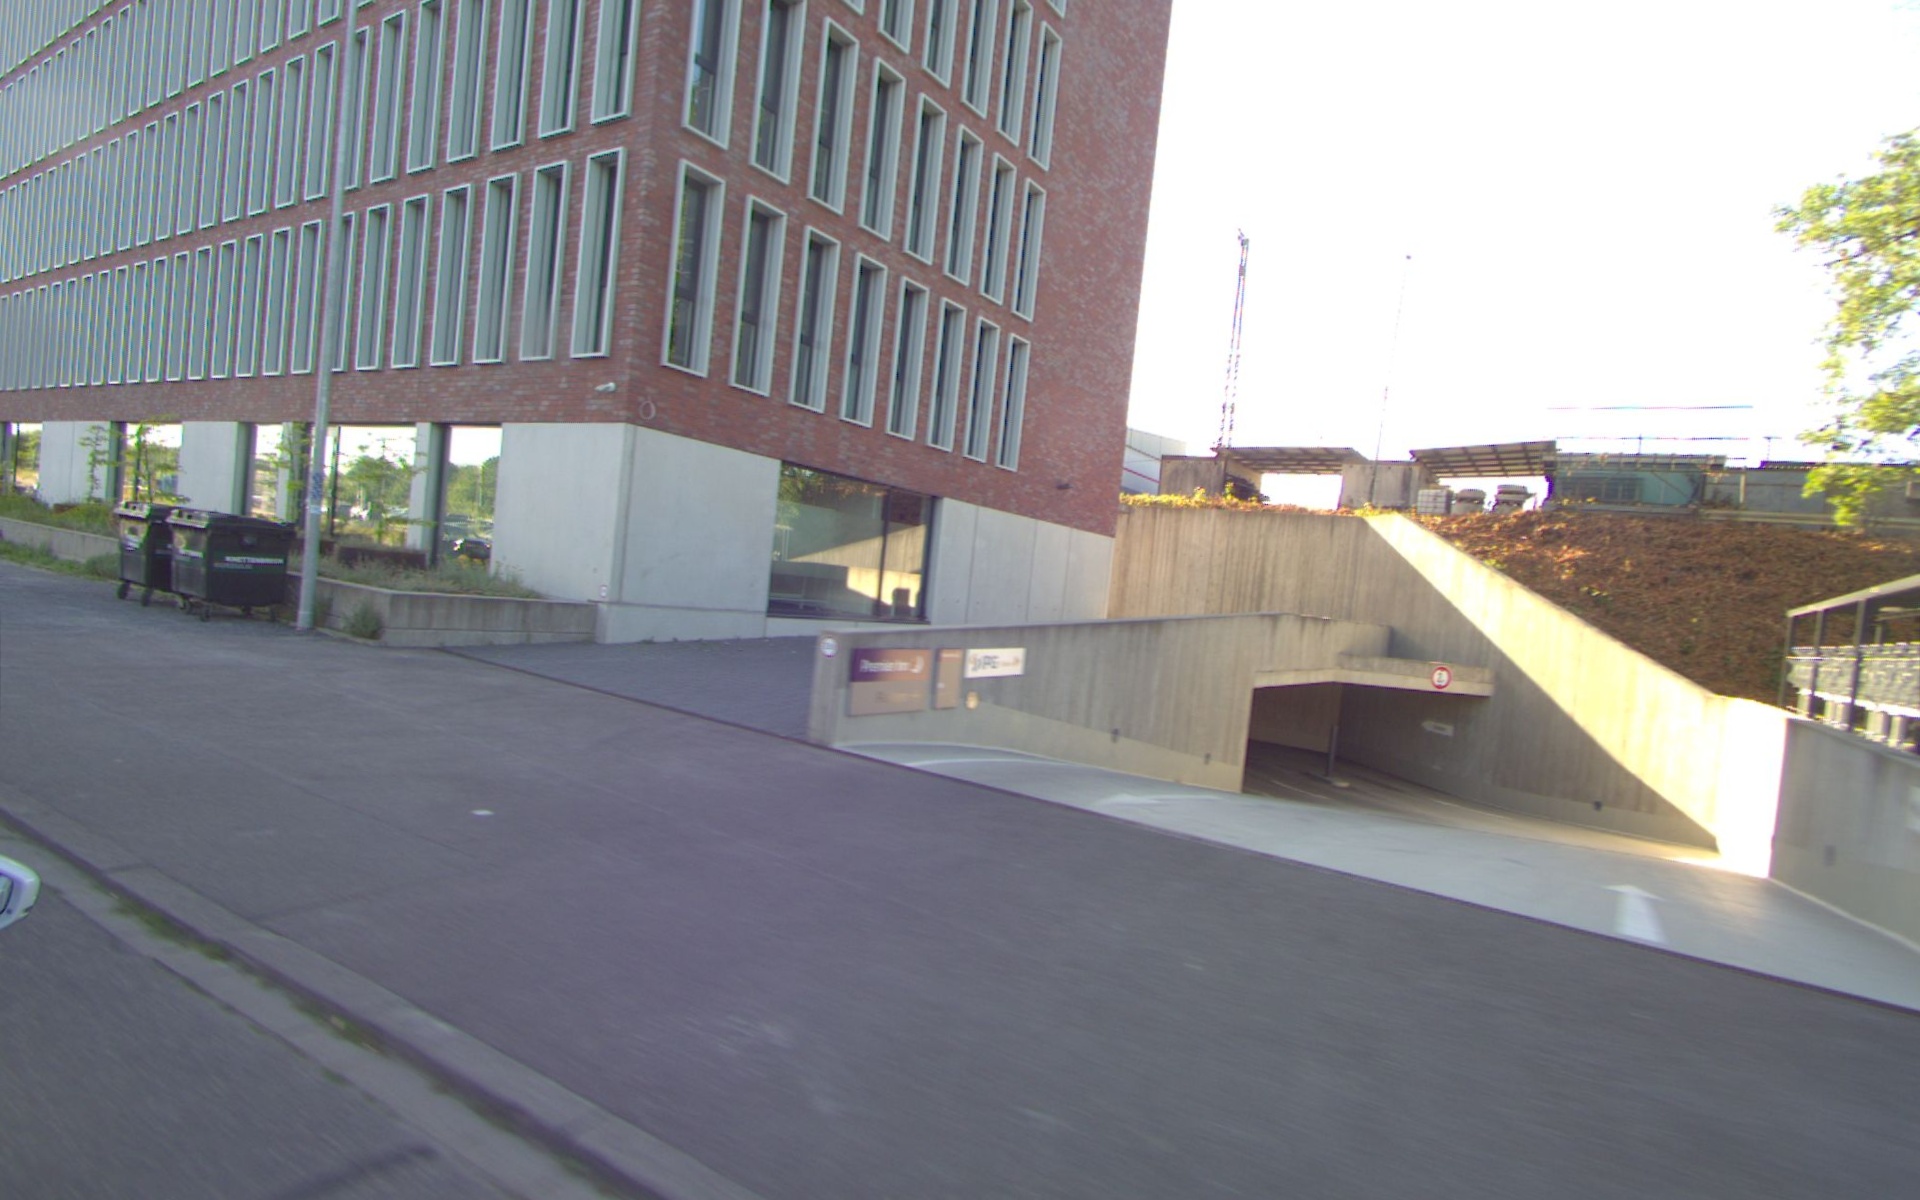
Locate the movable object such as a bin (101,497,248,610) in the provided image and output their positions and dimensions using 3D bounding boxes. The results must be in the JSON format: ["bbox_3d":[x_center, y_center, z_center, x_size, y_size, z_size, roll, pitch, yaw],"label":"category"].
[{"bbox_3d":[-10.827,-0.632,13.872,1.323,1.353,1.129,7,2,30],"label":"movable object such as a bin"}]

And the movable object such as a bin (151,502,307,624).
[{"bbox_3d":[-9.465,-0.473,13.040,1.323,1.390,1.129,7,2,30],"label":"movable object such as a bin"}]
